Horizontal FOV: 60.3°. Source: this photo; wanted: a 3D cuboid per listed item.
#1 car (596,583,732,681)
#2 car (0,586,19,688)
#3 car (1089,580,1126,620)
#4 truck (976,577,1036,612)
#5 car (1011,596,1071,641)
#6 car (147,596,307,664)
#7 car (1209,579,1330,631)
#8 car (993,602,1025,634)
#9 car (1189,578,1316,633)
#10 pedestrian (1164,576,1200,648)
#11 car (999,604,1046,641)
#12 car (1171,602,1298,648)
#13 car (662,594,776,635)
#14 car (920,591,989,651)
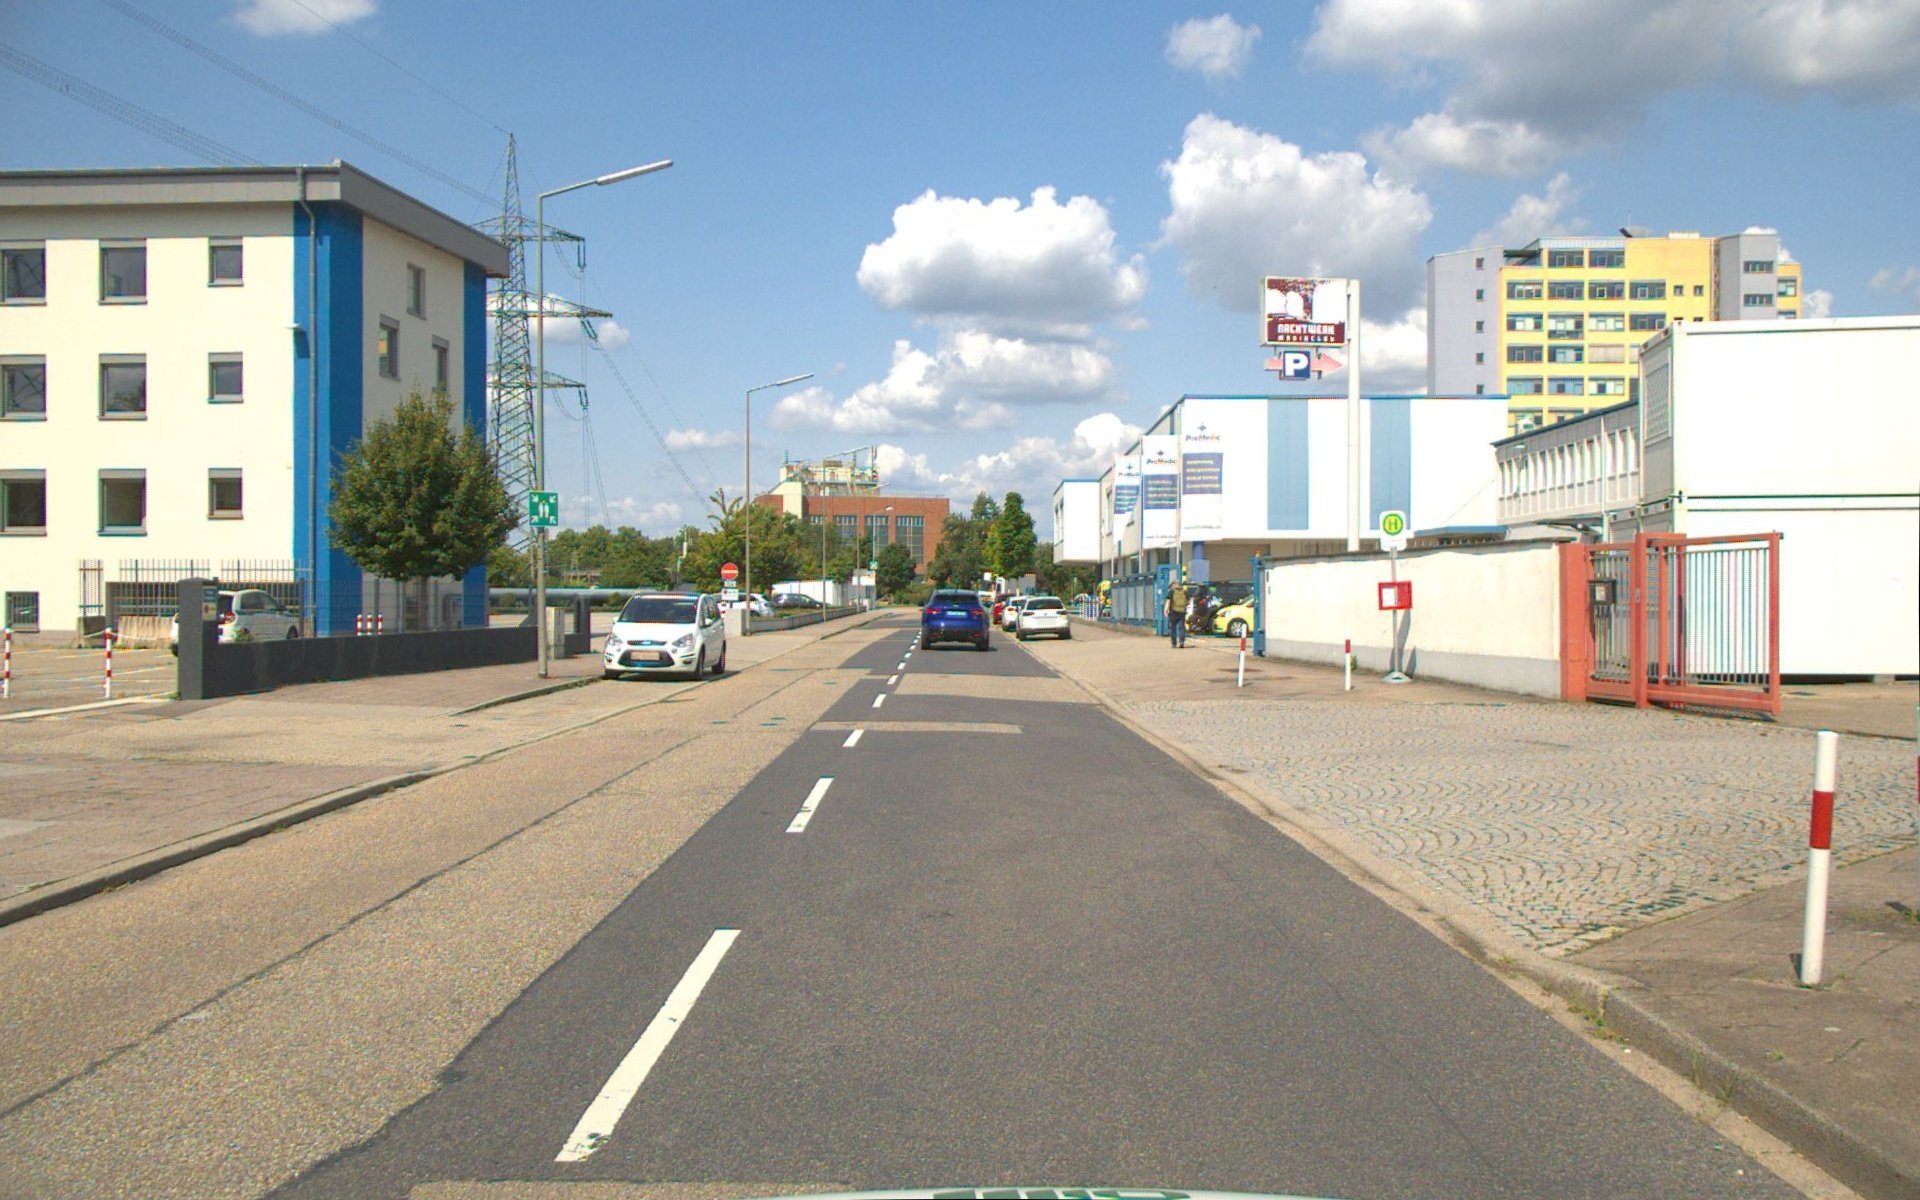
[{"bbox_3d":[-5.670,0.594,32.241,1.830,1.738,4.752,1,0,-1],"label":"car"},{"bbox_3d":[-16.819,0.608,25.159,1.785,1.665,4.848,-1,0,7],"label":"car"},{"bbox_3d":[9.632,0.001,108.191,1.884,2.507,5.259,1,0,0],"label":"car"},{"bbox_3d":[4.999,-0.659,176.853,2.278,3.629,9.350,2,1,30],"label":"truck"},{"bbox_3d":[2.849,0.643,58.972,1.829,1.547,4.597,1,0,-1],"label":"car"},{"bbox_3d":[-17.283,0.692,39.199,1.833,1.533,3.761,0,0,6],"label":"car"},{"bbox_3d":[9.355,0.165,50.204,3.334,1.516,1.791,1,0,-1],"label":"car"},{"bbox_3d":[2.668,0.977,90.553,1.718,1.679,4.678,1,0,1],"label":"car"},{"bbox_3d":[9.272,0.179,52.645,3.729,1.709,1.791,1,0,-1],"label":"car"},{"bbox_3d":[5.630,0.303,41.947,0.754,1.787,0.787,-2,0,-1],"label":"pedestrian"},{"bbox_3d":[2.667,0.940,71.628,1.798,1.547,4.460,1,0,-1],"label":"car"},{"bbox_3d":[9.119,0.824,55.215,3.905,1.445,2.000,-1,0,0],"label":"car"},{"bbox_3d":[-10.250,0.606,70.630,4.661,1.630,1.998,-2,0,-4],"label":"car"},{"bbox_3d":[-0.184,0.571,47.165,1.871,1.621,4.700,1,0,-1],"label":"car"}]
